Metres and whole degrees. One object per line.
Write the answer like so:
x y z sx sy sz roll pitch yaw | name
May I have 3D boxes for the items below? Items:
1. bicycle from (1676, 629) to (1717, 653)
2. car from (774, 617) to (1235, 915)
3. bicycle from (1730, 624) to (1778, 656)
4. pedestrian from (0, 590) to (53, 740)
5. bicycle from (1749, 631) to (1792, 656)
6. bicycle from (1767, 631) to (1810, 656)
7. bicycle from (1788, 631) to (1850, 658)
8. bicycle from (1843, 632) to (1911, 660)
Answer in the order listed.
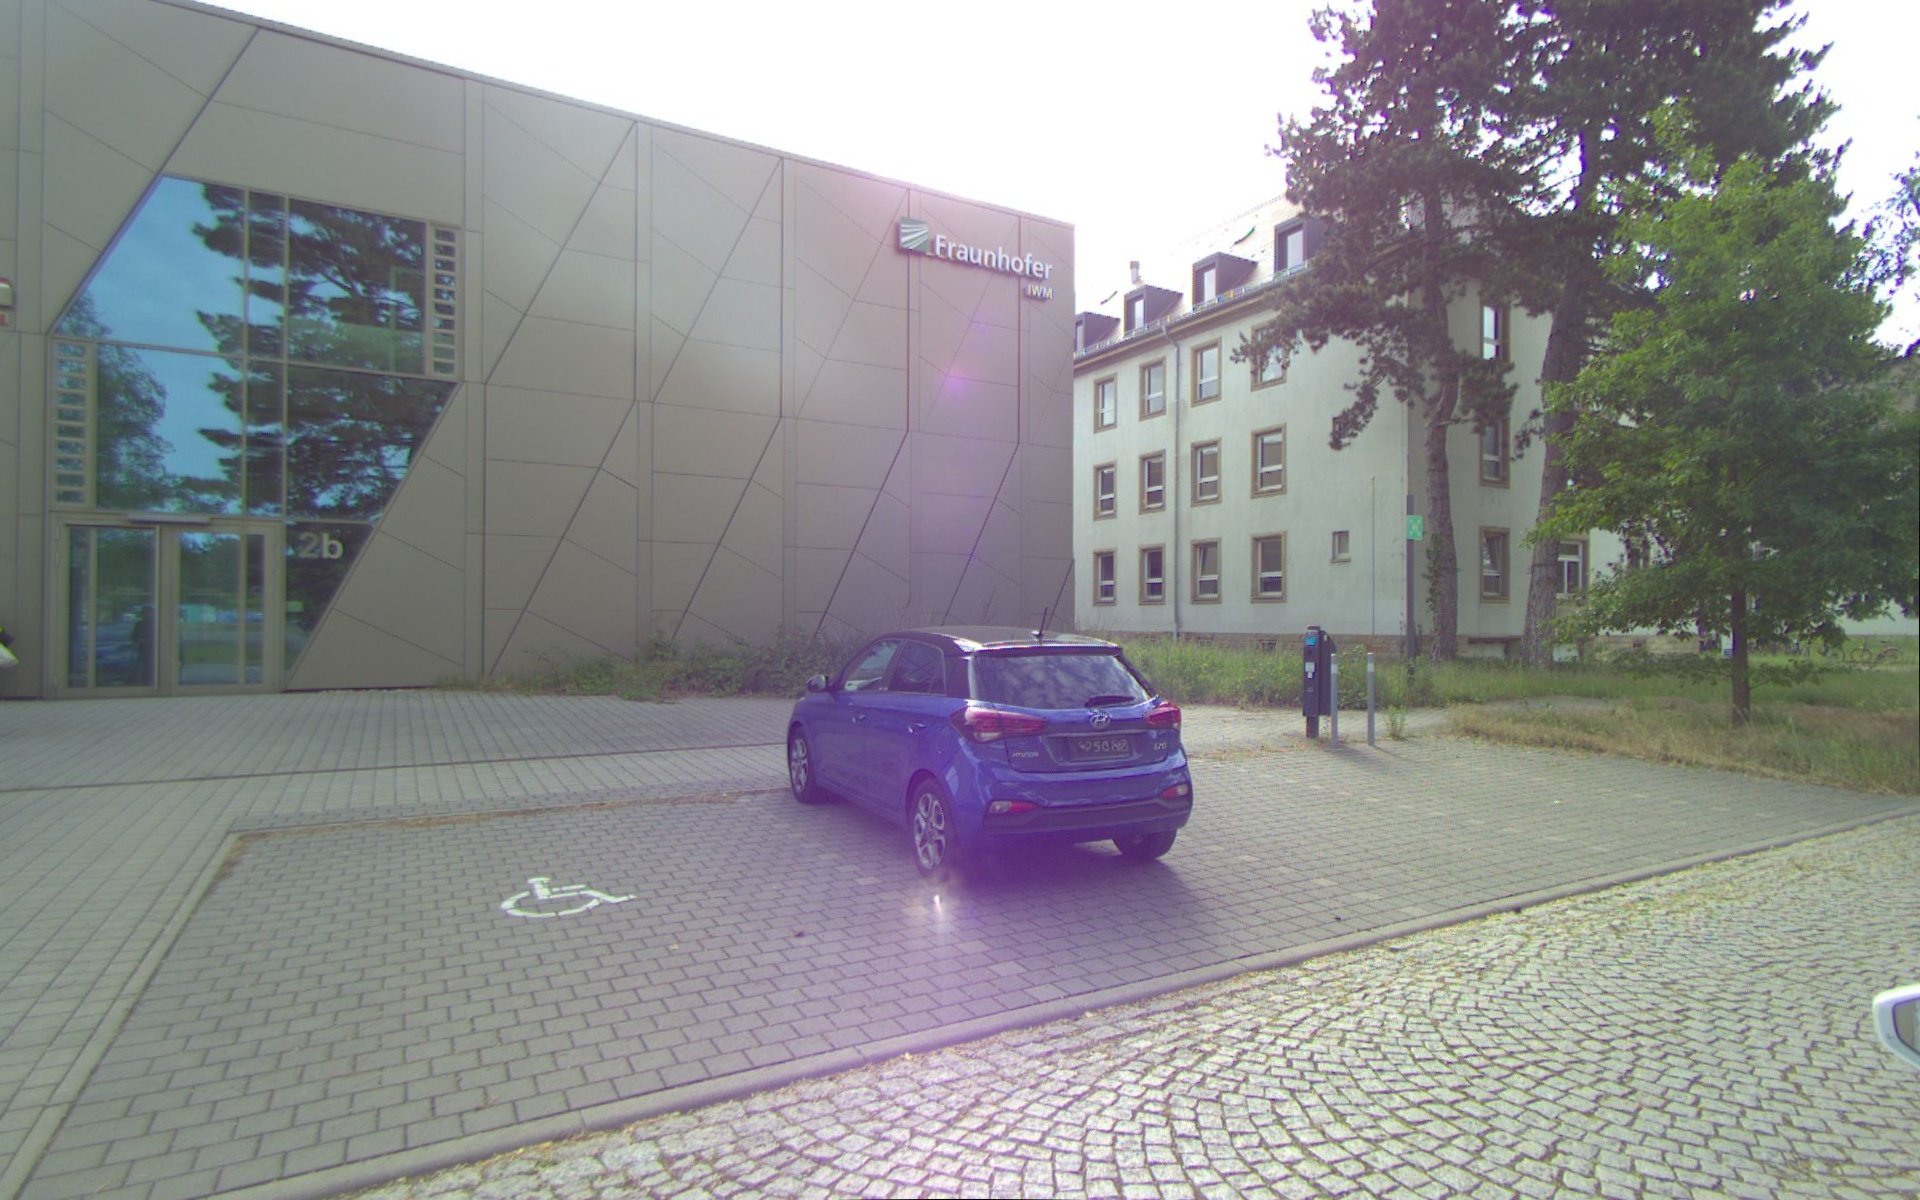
34.430 1.907 46.945 2.246 1.090 0.732 1 -1 -30 | bicycle
0.038 0.922 7.440 1.828 1.498 3.752 1 0 -27 | car
35.745 1.773 45.199 2.679 1.404 0.732 1 -1 -30 | bicycle
-10.093 0.659 10.416 0.970 1.514 0.816 0 -1 35 | pedestrian
35.801 1.905 44.370 2.246 1.090 0.732 1 -1 -30 | bicycle
36.178 1.890 43.849 2.246 1.090 0.732 1 -1 -30 | bicycle
35.828 1.837 41.924 0.729 1.090 1.849 1 -1 -27 | bicycle
36.770 1.818 40.296 0.821 1.090 1.849 1 -1 -27 | bicycle
